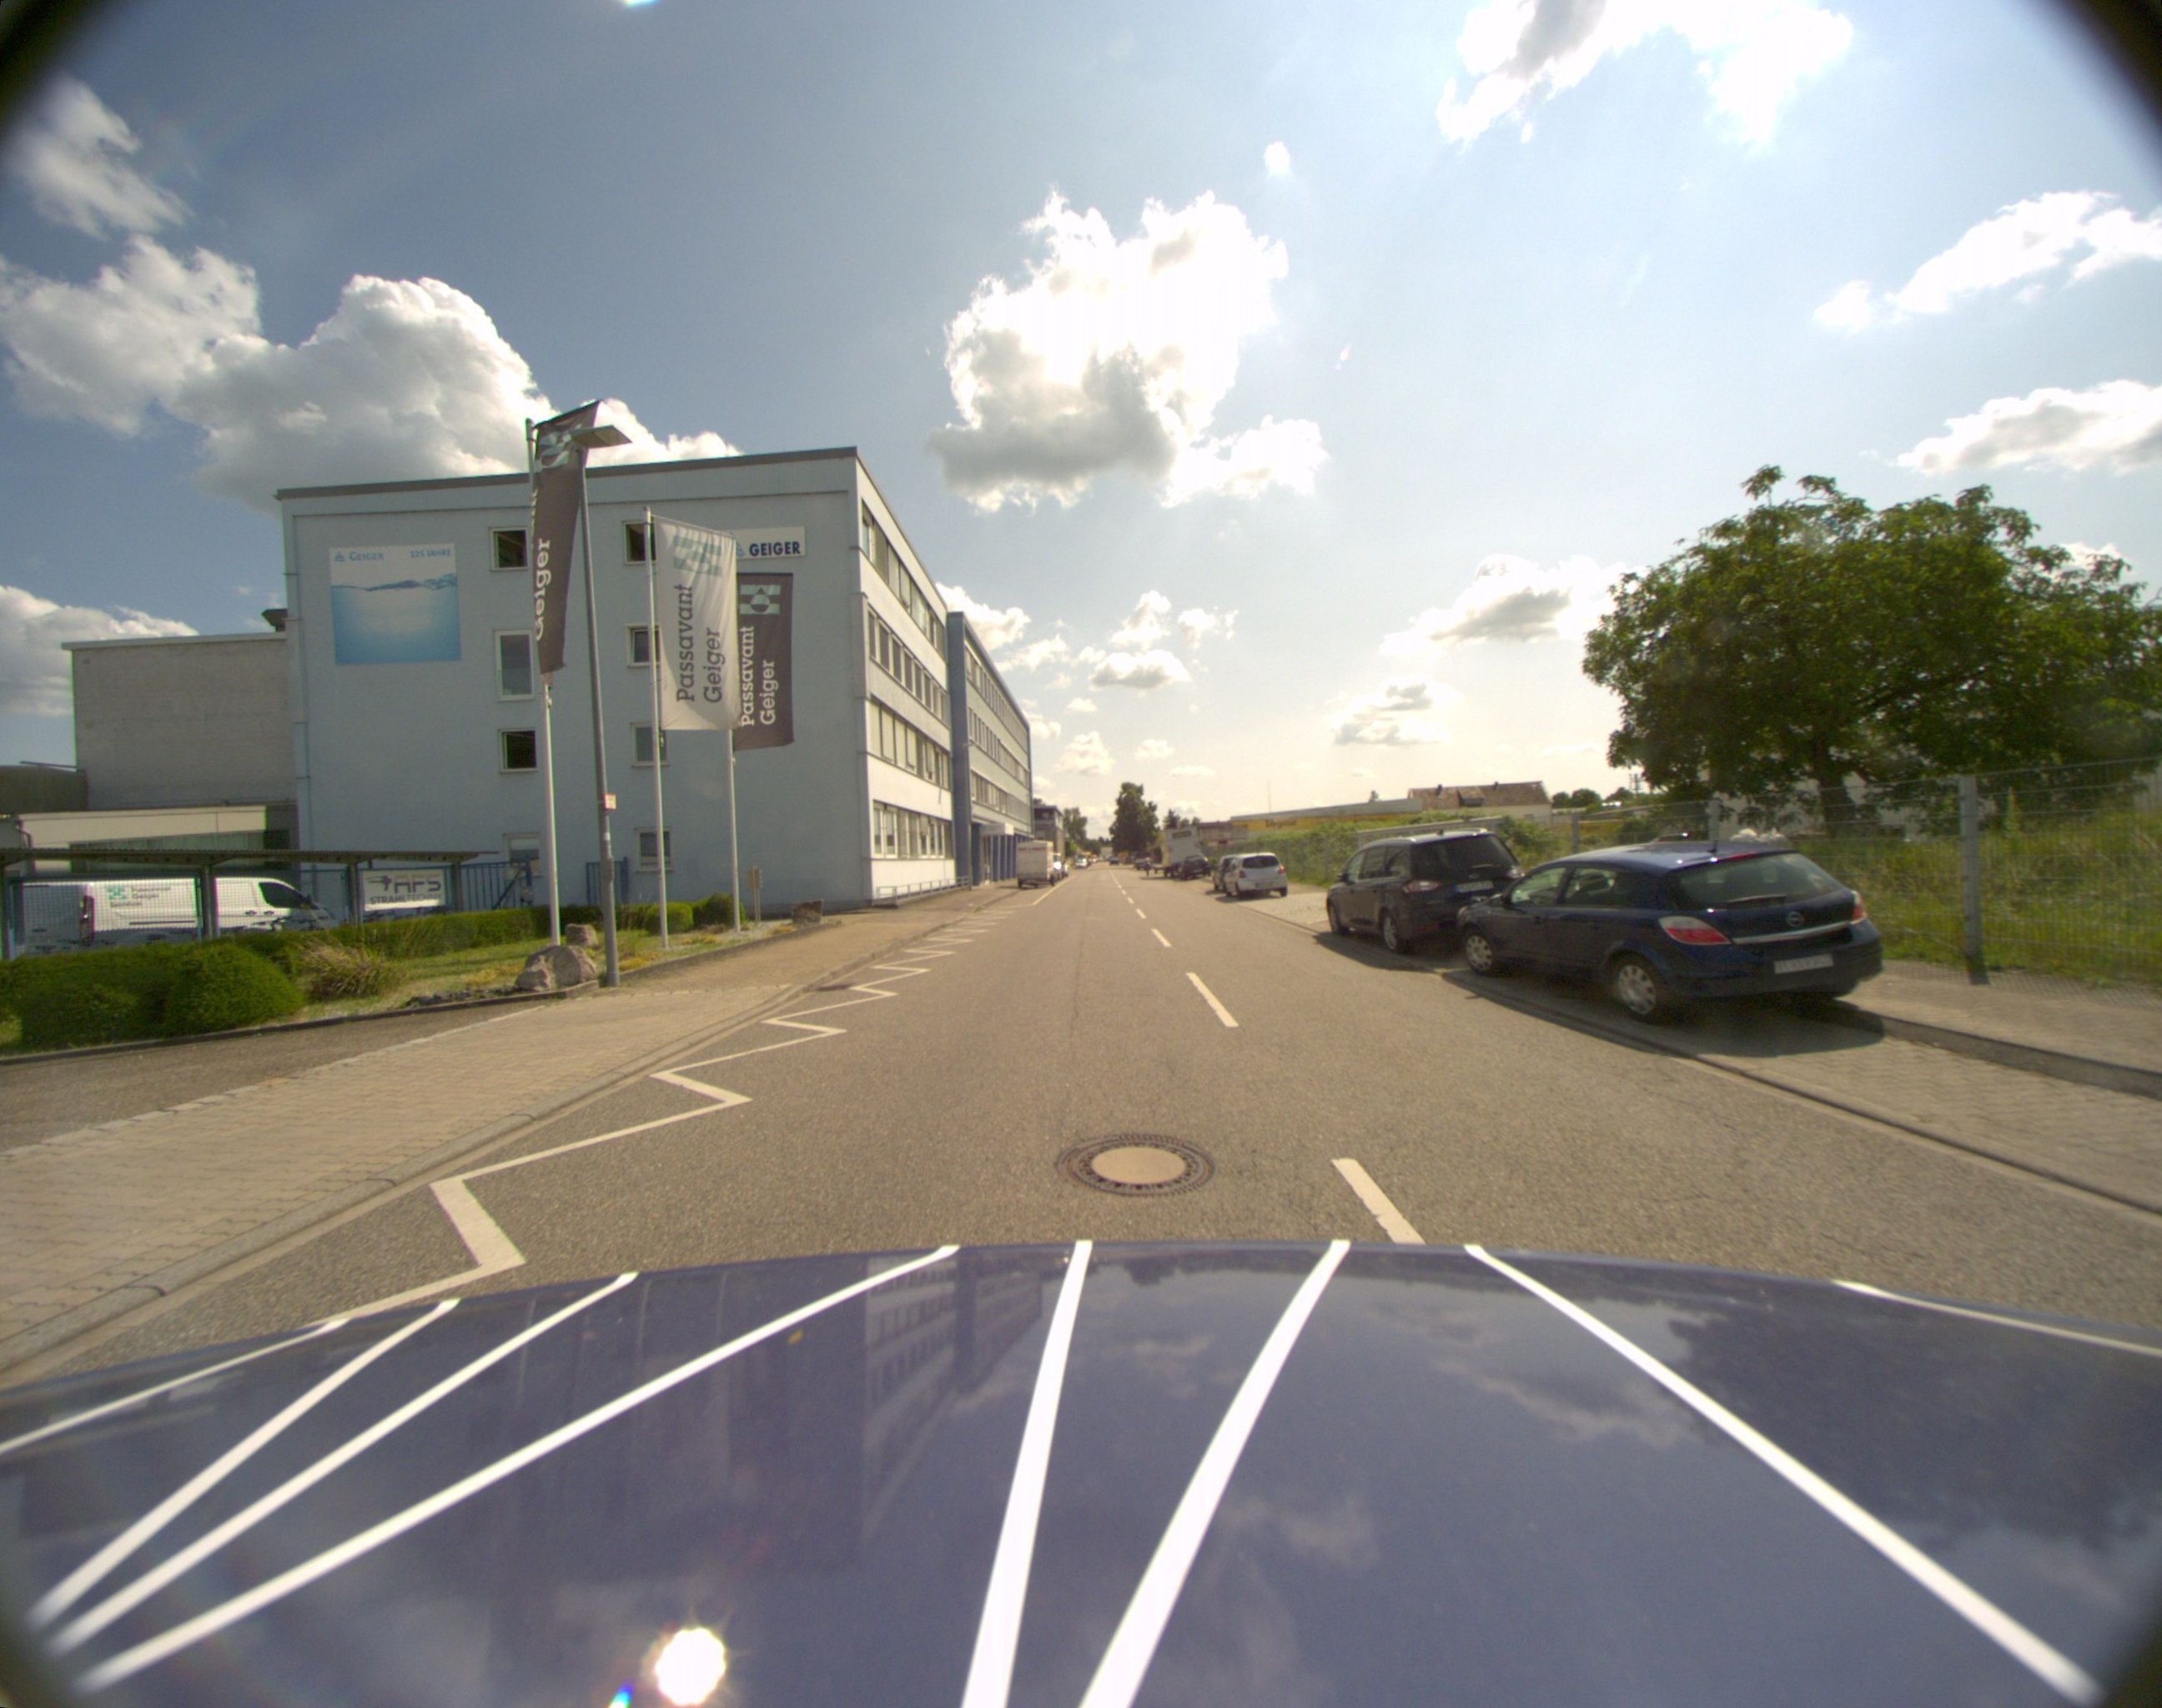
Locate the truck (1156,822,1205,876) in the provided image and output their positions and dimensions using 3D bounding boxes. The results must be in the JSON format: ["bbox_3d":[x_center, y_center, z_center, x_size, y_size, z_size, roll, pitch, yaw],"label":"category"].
[{"bbox_3d":[6.891,-0.294,53.428,2.256,3.342,6.907,-7,0,1],"label":"truck"}]

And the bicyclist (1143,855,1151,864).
[{"bbox_3d":[4.904,0.400,56.341,0.567,0.628,1.858,-3,0,4],"label":"bicyclist"}]

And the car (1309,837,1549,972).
[{"bbox_3d":[5.414,0.671,12.620,1.805,1.739,4.713,-3,0,1],"label":"car"}]

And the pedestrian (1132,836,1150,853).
[{"bbox_3d":[7.667,-1.209,97.304,1.998,2.002,4.000,-3,1,3],"label":"pedestrian"}]

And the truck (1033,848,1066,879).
[{"bbox_3d":[-2.146,0.661,53.509,1.969,2.023,4.734,-2,0,1],"label":"truck"}]

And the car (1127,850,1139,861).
[{"bbox_3d":[11.136,0.388,163.795,1.997,2.289,4.003,-2,0,11],"label":"car"}]

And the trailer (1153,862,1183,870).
[{"bbox_3d":[7.810,1.105,68.745,2.241,0.549,4.444,-3,0,0],"label":"trailer"}]

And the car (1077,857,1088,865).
[{"bbox_3d":[0.296,1.115,124.513,1.657,1.324,4.000,-2,0,1],"label":"car"}]

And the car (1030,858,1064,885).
[{"bbox_3d":[-2.137,1.081,48.505,1.722,1.533,4.403,-3,1,2],"label":"car"}]

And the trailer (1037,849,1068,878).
[{"bbox_3d":[-2.066,0.667,57.082,1.978,1.959,5.766,-2,0,1],"label":"trailer"}]

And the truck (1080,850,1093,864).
[{"bbox_3d":[1.186,0.525,159.446,2.402,2.787,6.376,-2,0,3],"label":"truck"}]

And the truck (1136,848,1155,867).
[{"bbox_3d":[8.300,0.435,98.067,2.133,2.225,7.351,-5,0,4],"label":"truck"}]

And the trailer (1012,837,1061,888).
[{"bbox_3d":[-2.330,0.440,41.140,1.873,2.538,5.073,-2,0,4],"label":"trailer"}]

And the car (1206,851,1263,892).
[{"bbox_3d":[6.209,0.660,31.049,1.572,1.391,3.799,-7,0,3],"label":"car"}]

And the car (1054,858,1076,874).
[{"bbox_3d":[-1.308,0.991,64.747,1.651,1.239,4.000,-2,0,1],"label":"car"}]

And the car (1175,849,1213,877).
[{"bbox_3d":[6.789,0.535,46.048,1.623,1.421,3.827,-9,0,2],"label":"car"}]

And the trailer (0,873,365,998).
[{"bbox_3d":[-18.424,1.503,16.011,1.689,1.973,5.277,-3,0,-2],"label":"trailer"}]

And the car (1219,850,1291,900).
[{"bbox_3d":[5.924,0.686,26.247,1.619,1.475,3.710,-5,0,1],"label":"car"}]

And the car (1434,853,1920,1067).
[{"bbox_3d":[5.443,0.791,7.781,1.581,1.504,4.201,-3,0,-1],"label":"car"}]

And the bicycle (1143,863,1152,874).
[{"bbox_3d":[4.946,1.099,56.336,0.589,0.737,2.125,-2,0,4],"label":"bicycle"}]
